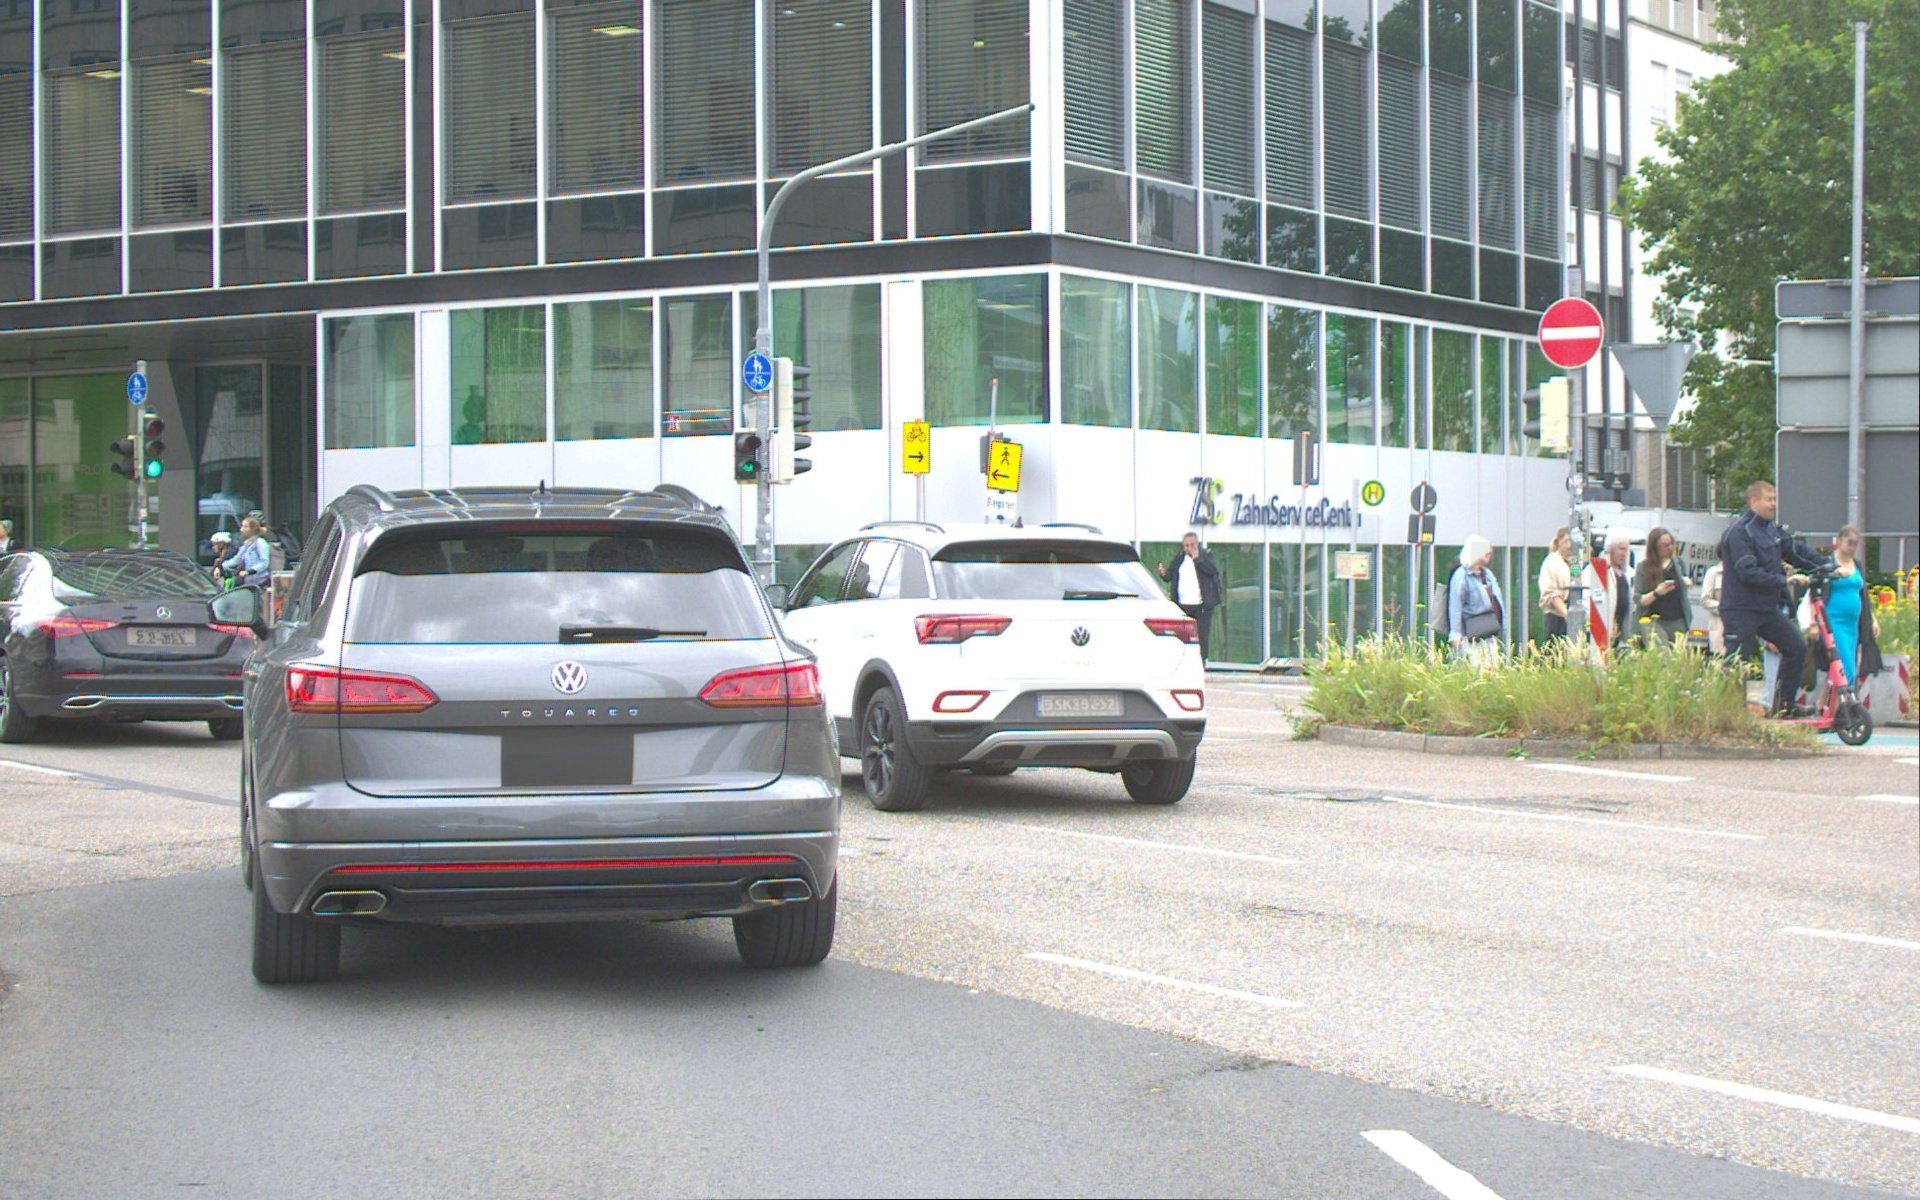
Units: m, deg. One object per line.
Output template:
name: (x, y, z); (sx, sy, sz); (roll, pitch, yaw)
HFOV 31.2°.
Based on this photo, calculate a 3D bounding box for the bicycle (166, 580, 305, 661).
bicycle: (-9.407, 0.263, 44.651); (1.665, 1.023, 0.581); (0, 1, 8)

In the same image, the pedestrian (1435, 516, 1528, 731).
pedestrian: (4.572, 0.201, 30.125); (0.701, 1.856, 0.669); (1, 0, 16)

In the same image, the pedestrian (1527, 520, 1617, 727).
pedestrian: (5.445, 0.206, 30.575); (0.701, 1.809, 0.669); (1, 0, 16)

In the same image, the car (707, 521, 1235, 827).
car: (-0.054, 0.328, 19.708); (1.797, 1.540, 3.937); (-1, 2, -20)

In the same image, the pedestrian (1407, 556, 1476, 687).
pedestrian: (6.259, 0.270, 44.670); (0.589, 1.673, 0.637); (0, 1, -38)

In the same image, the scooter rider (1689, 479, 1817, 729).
scooter rider: (5.493, 0.021, 23.804); (0.744, 1.688, 0.765); (1, 0, 21)

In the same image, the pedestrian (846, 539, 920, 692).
pedestrian: (-0.867, 0.164, 38.622); (0.546, 1.692, 0.802); (0, 1, -26)

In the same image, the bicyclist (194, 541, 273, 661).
bicyclist: (-9.433, 0.007, 44.646); (0.844, 1.544, 0.565); (0, 1, 8)

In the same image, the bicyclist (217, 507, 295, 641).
bicyclist: (-9.736, -0.371, 47.564); (0.813, 1.839, 0.674); (1, 2, 33)

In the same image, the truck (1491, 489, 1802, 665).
truck: (12.851, -0.400, 63.785); (2.343, 3.053, 8.182); (1, 0, 37)

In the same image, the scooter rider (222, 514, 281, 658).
scooter rider: (-8.943, -0.185, 43.424); (0.641, 1.802, 0.593); (-1, 1, -4)

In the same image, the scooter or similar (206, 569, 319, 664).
scooter or similar: (-8.812, 0.202, 43.443); (1.319, 1.172, 0.593); (-1, 1, -4)

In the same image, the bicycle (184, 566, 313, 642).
bicycle: (-9.866, 0.045, 47.666); (1.765, 1.003, 0.679); (1, 2, 32)

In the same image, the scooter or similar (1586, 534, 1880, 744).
scooter or similar: (5.368, 0.253, 23.863); (1.884, 1.402, 0.776); (1, 0, 21)

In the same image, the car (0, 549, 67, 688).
car: (-11.412, 0.140, 38.176); (1.833, 1.427, 4.148); (1, 1, -30)

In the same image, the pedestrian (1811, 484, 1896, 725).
pedestrian: (7.363, 0.032, 28.337); (0.641, 1.958, 0.610); (1, 0, 14)

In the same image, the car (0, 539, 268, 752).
car: (-6.239, 0.286, 25.745); (1.833, 1.390, 4.149); (2, 1, -14)

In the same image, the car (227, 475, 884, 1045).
car: (-1.625, 0.402, 12.448); (1.969, 1.689, 4.226); (0, 2, -12)

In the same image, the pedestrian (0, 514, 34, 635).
pedestrian: (-13.680, -0.357, 48.944); (0.752, 1.706, 0.525); (-1, 1, 32)

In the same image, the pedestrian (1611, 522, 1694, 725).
pedestrian: (5.857, 0.193, 29.065); (0.641, 1.690, 0.610); (1, 0, 14)

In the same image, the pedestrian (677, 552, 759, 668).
pedestrian: (-3.054, 0.120, 43.404); (0.838, 1.438, 0.605); (1, 2, 33)

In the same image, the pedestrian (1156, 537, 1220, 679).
pedestrian: (2.847, 0.094, 42.836); (0.636, 1.742, 0.590); (1, 1, 21)
